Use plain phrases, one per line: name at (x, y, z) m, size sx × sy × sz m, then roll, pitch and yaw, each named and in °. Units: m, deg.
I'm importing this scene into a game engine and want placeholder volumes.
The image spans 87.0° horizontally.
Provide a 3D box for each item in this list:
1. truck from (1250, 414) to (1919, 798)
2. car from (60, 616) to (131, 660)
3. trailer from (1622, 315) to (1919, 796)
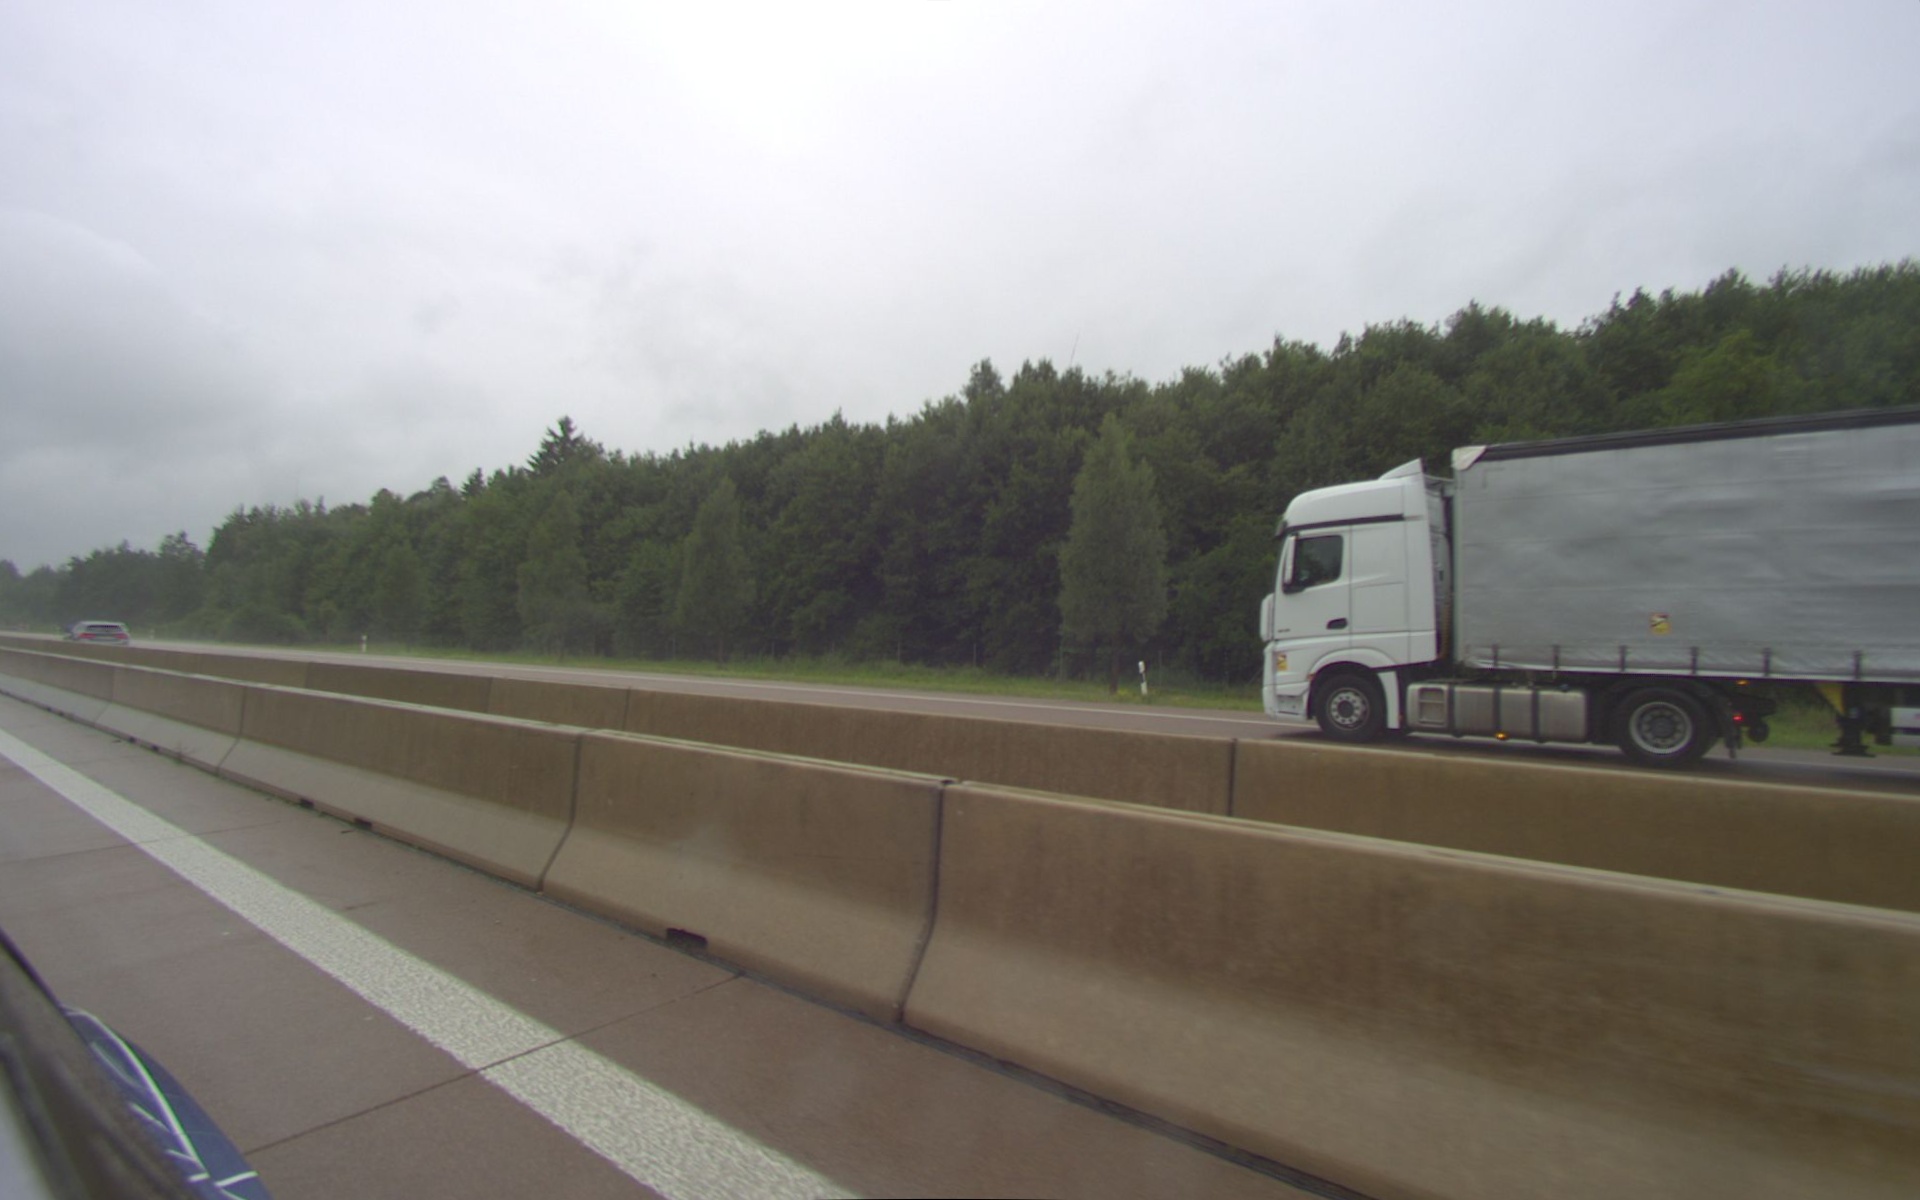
truck at (8.243, 0.077, 13.892) m, size 7.459 × 3.918 × 3.437 m, roll -1°, pitch 0°, yaw 40°
car at (-37.397, 1.622, 43.737) m, size 3.875 × 1.810 × 1.770 m, roll -1°, pitch -3°, yaw 42°
trailer at (13.672, -0.497, 9.231) m, size 12.437 × 4.903 × 3.395 m, roll -1°, pitch 0°, yaw 41°
